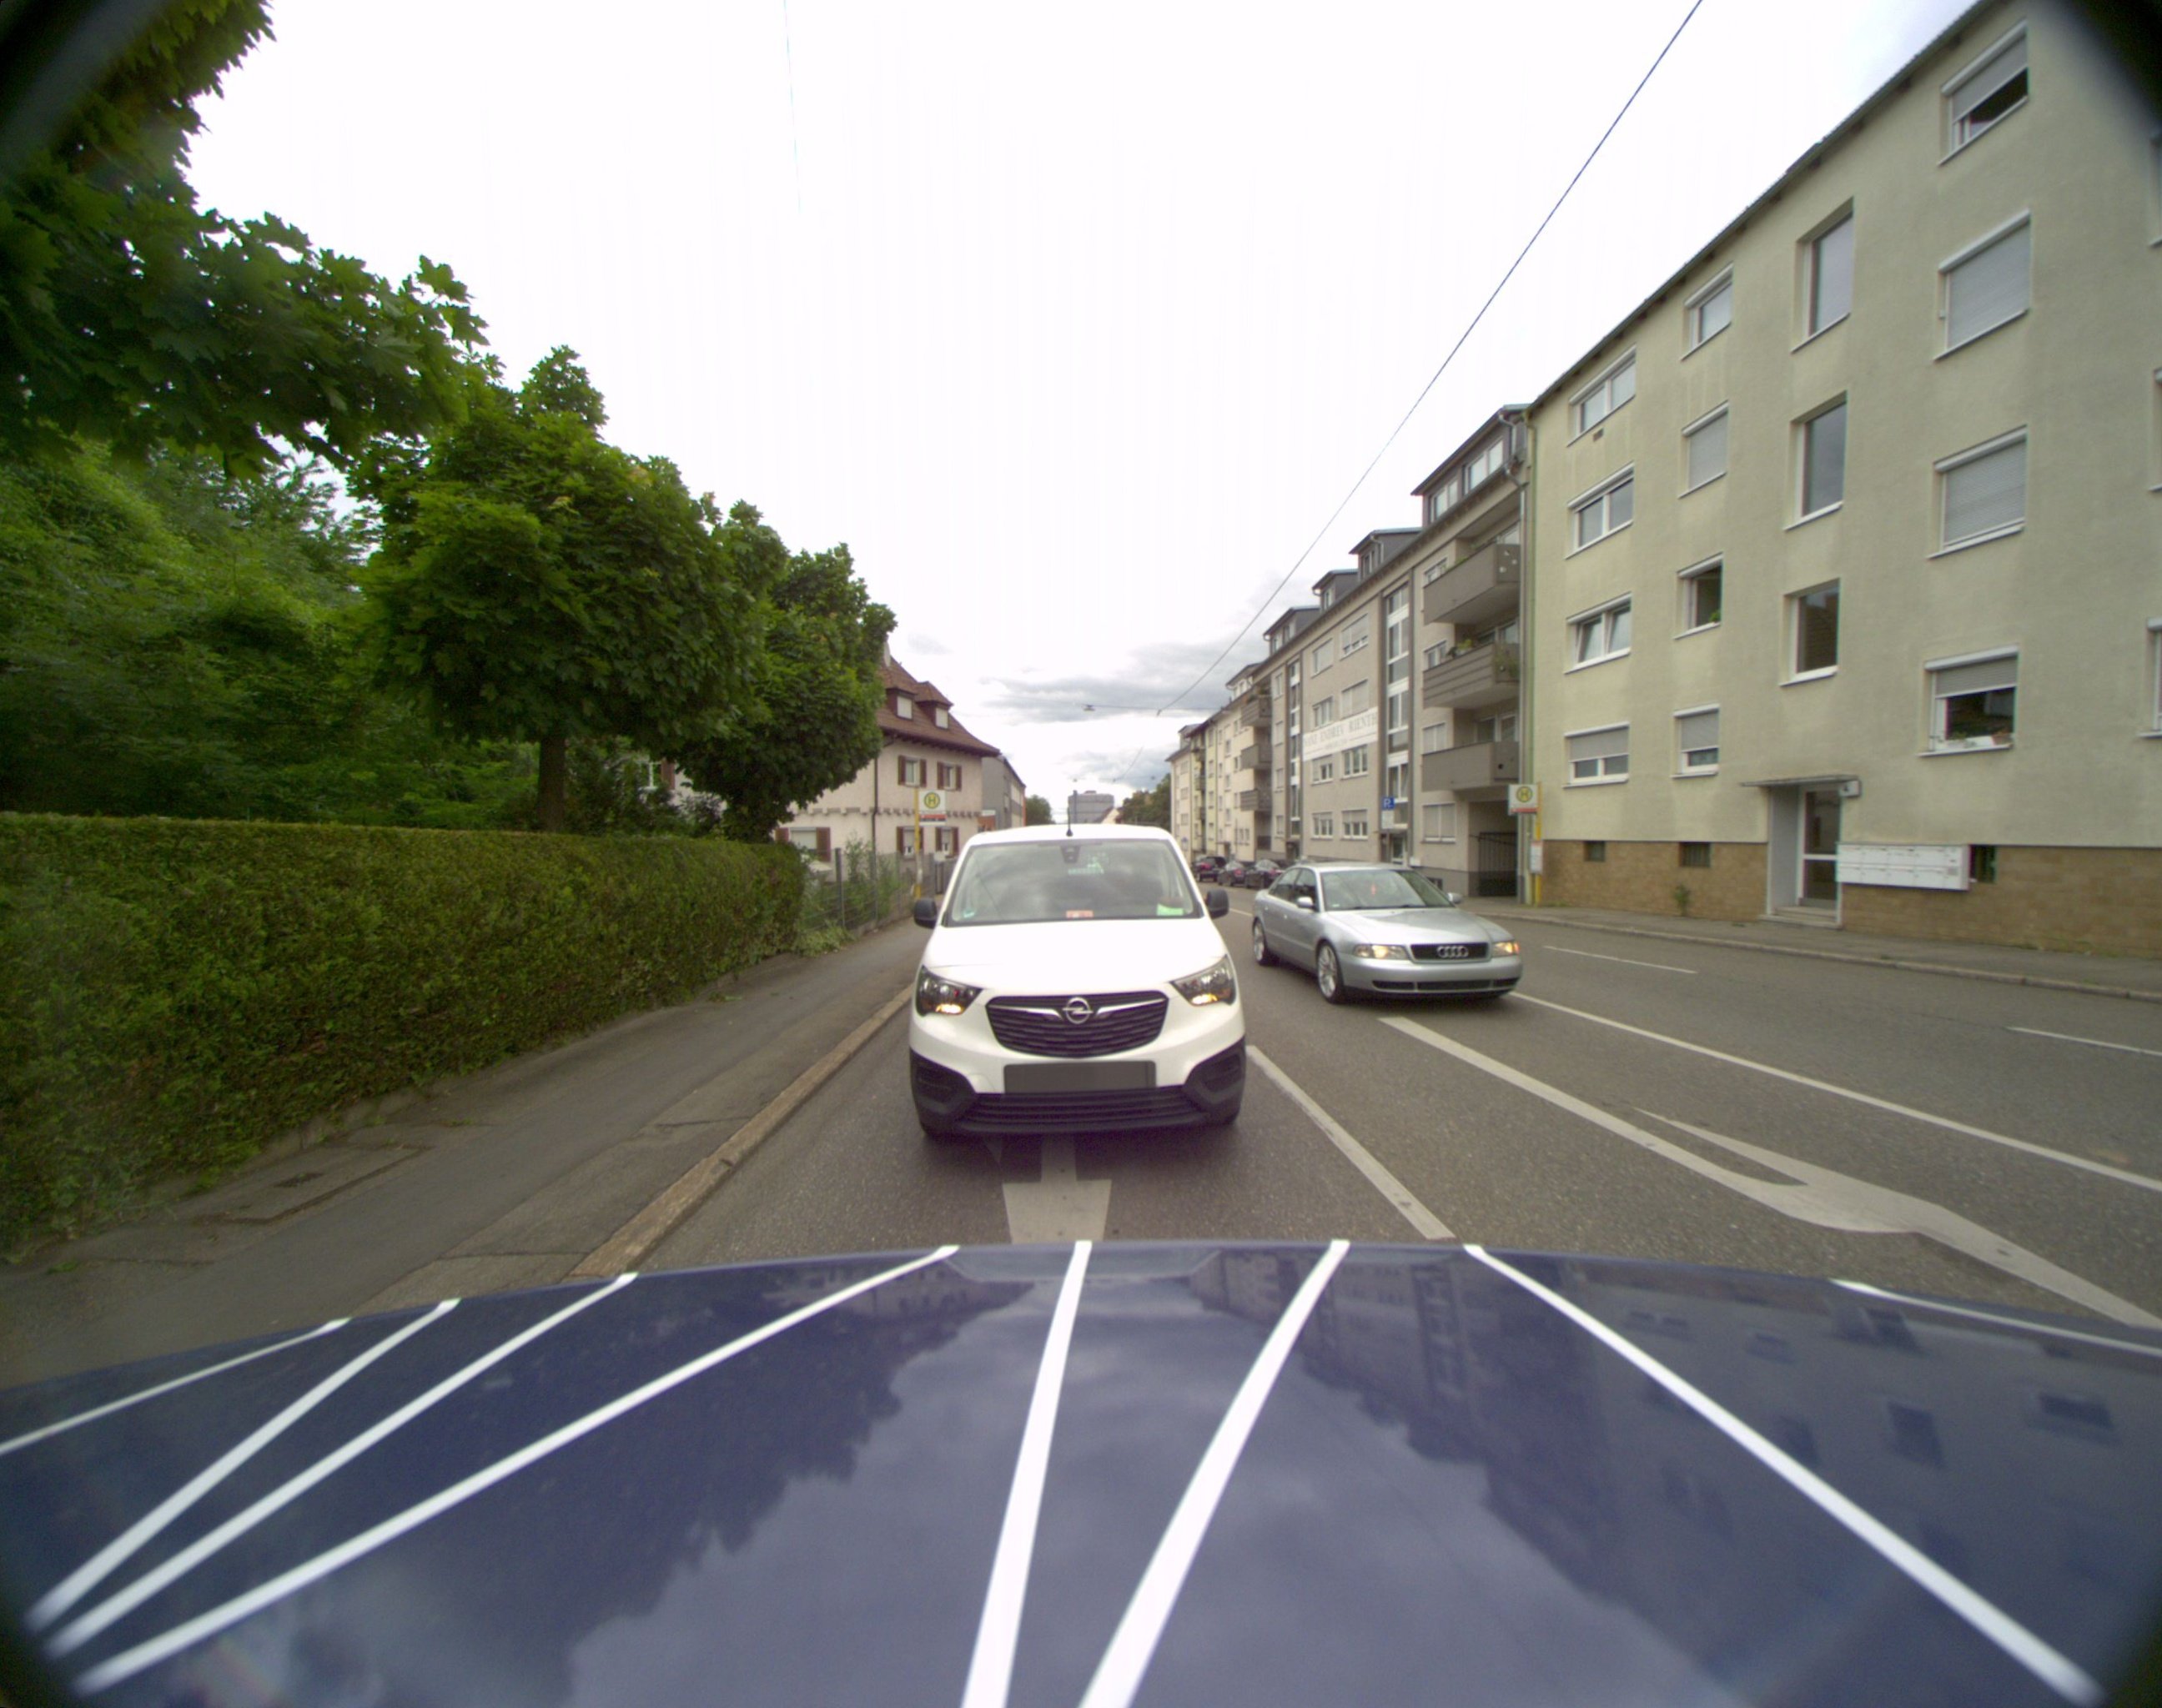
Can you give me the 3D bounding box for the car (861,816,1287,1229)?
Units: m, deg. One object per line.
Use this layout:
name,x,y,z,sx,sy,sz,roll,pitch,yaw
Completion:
car,-0.085,0.721,5.351,1.803,1.736,3.999,-3,1,-2

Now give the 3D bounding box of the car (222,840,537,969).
car,-12.758,0.780,14.028,1.994,2.002,4.008,-1,0,40

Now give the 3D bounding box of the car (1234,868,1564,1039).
car,3.138,0.874,8.544,1.701,1.365,4.176,-2,0,-4

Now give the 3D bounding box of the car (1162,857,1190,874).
car,8.195,0.979,65.993,1.875,1.372,4.307,2,0,0

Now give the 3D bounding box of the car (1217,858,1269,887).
car,8.474,0.923,39.978,1.772,1.397,4.307,-1,0,-1

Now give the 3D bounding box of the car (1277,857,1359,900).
car,8.894,0.865,28.865,1.773,1.428,3.800,2,1,-2

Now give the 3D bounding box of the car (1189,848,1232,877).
car,8.338,0.508,49.145,1.875,1.743,4.306,2,1,-2
